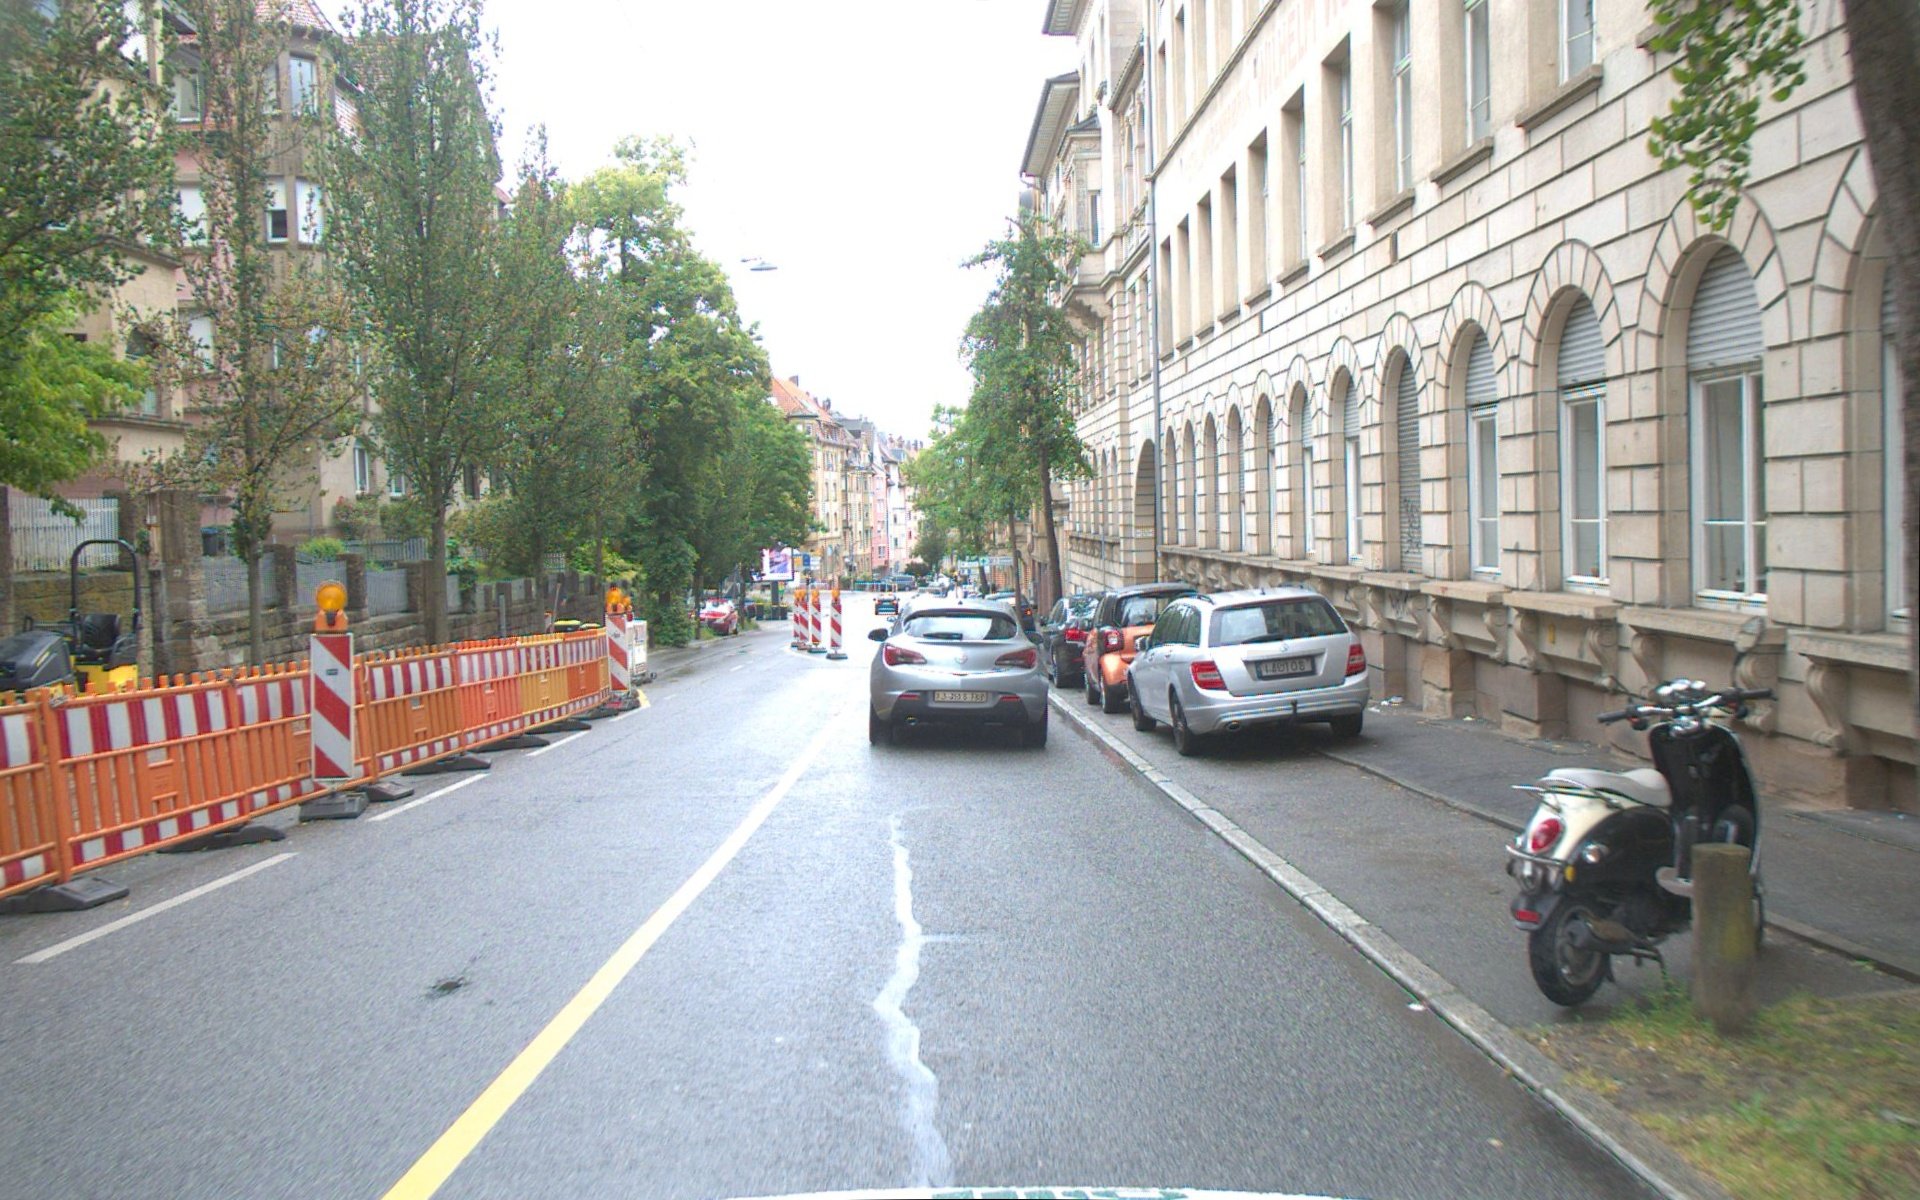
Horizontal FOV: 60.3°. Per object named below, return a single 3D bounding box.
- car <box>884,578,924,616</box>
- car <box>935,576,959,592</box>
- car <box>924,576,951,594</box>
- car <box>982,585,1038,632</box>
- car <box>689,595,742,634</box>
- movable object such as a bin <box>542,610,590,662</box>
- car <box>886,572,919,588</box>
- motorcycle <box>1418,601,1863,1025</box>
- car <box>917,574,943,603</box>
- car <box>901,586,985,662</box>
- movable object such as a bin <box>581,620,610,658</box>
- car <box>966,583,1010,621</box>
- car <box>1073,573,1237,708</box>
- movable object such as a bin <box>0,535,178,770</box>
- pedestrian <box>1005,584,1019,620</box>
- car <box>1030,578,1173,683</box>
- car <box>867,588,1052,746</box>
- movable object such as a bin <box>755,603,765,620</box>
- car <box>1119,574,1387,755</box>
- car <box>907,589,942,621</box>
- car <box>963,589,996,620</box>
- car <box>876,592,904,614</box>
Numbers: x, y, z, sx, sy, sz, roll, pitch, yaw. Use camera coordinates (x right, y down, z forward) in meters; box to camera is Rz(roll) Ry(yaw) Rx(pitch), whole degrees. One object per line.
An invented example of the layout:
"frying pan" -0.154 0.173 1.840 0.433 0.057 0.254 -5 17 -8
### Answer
"car" -2.479 -0.159 74.008 1.623 1.569 3.665 -3 0 -1
"car" -1.445 -1.767 185.382 1.951 1.713 4.003 1 0 9
"car" -2.215 -1.448 164.403 1.951 1.713 4.003 1 0 9
"car" 1.629 0.263 54.704 1.604 1.454 3.375 -2 1 -2
"car" -10.066 0.580 68.393 1.604 1.464 4.079 -2 1 -1
"movable object such as a bin" -9.495 0.862 39.879 0.925 1.235 0.856 1 1 0
"car" -7.049 -2.474 203.144 3.906 1.780 1.999 1 0 -2
"motorcycle" 2.604 0.697 6.217 1.919 1.257 0.649 -5 2 -38
"car" -1.889 -0.726 105.824 1.623 1.813 3.665 0 0 -1
"car" -0.356 0.485 36.088 1.736 1.530 3.869 0 1 0
"movable object such as a bin" -9.316 0.995 42.261 0.591 0.923 0.624 1 1 0
"car" 1.243 0.073 74.645 1.605 1.630 3.855 -2 1 -4
"car" 2.523 0.482 22.051 1.606 1.546 3.182 -4 1 -2
"movable object such as a bin" -10.203 0.528 17.940 1.952 2.339 2.816 -2 1 2
"pedestrian" 2.737 0.106 86.933 0.701 1.903 0.635 1 -1 -2
"car" 2.289 0.445 27.873 1.722 1.486 4.722 -4 1 -2
"car" -0.004 0.629 17.758 1.774 1.475 3.869 0 1 0
"movable object such as a bin" -13.448 0.781 111.329 0.613 1.077 0.633 1 0 -7
"car" 2.778 0.543 16.650 1.661 1.456 4.420 -4 1 -2
"car" -1.894 0.241 87.151 1.624 1.569 3.663 -3 0 -4
"car" 1.023 0.208 89.403 1.604 1.551 3.857 -2 1 -1
"car" -5.098 0.219 120.960 1.953 1.527 3.999 -1 0 -2
